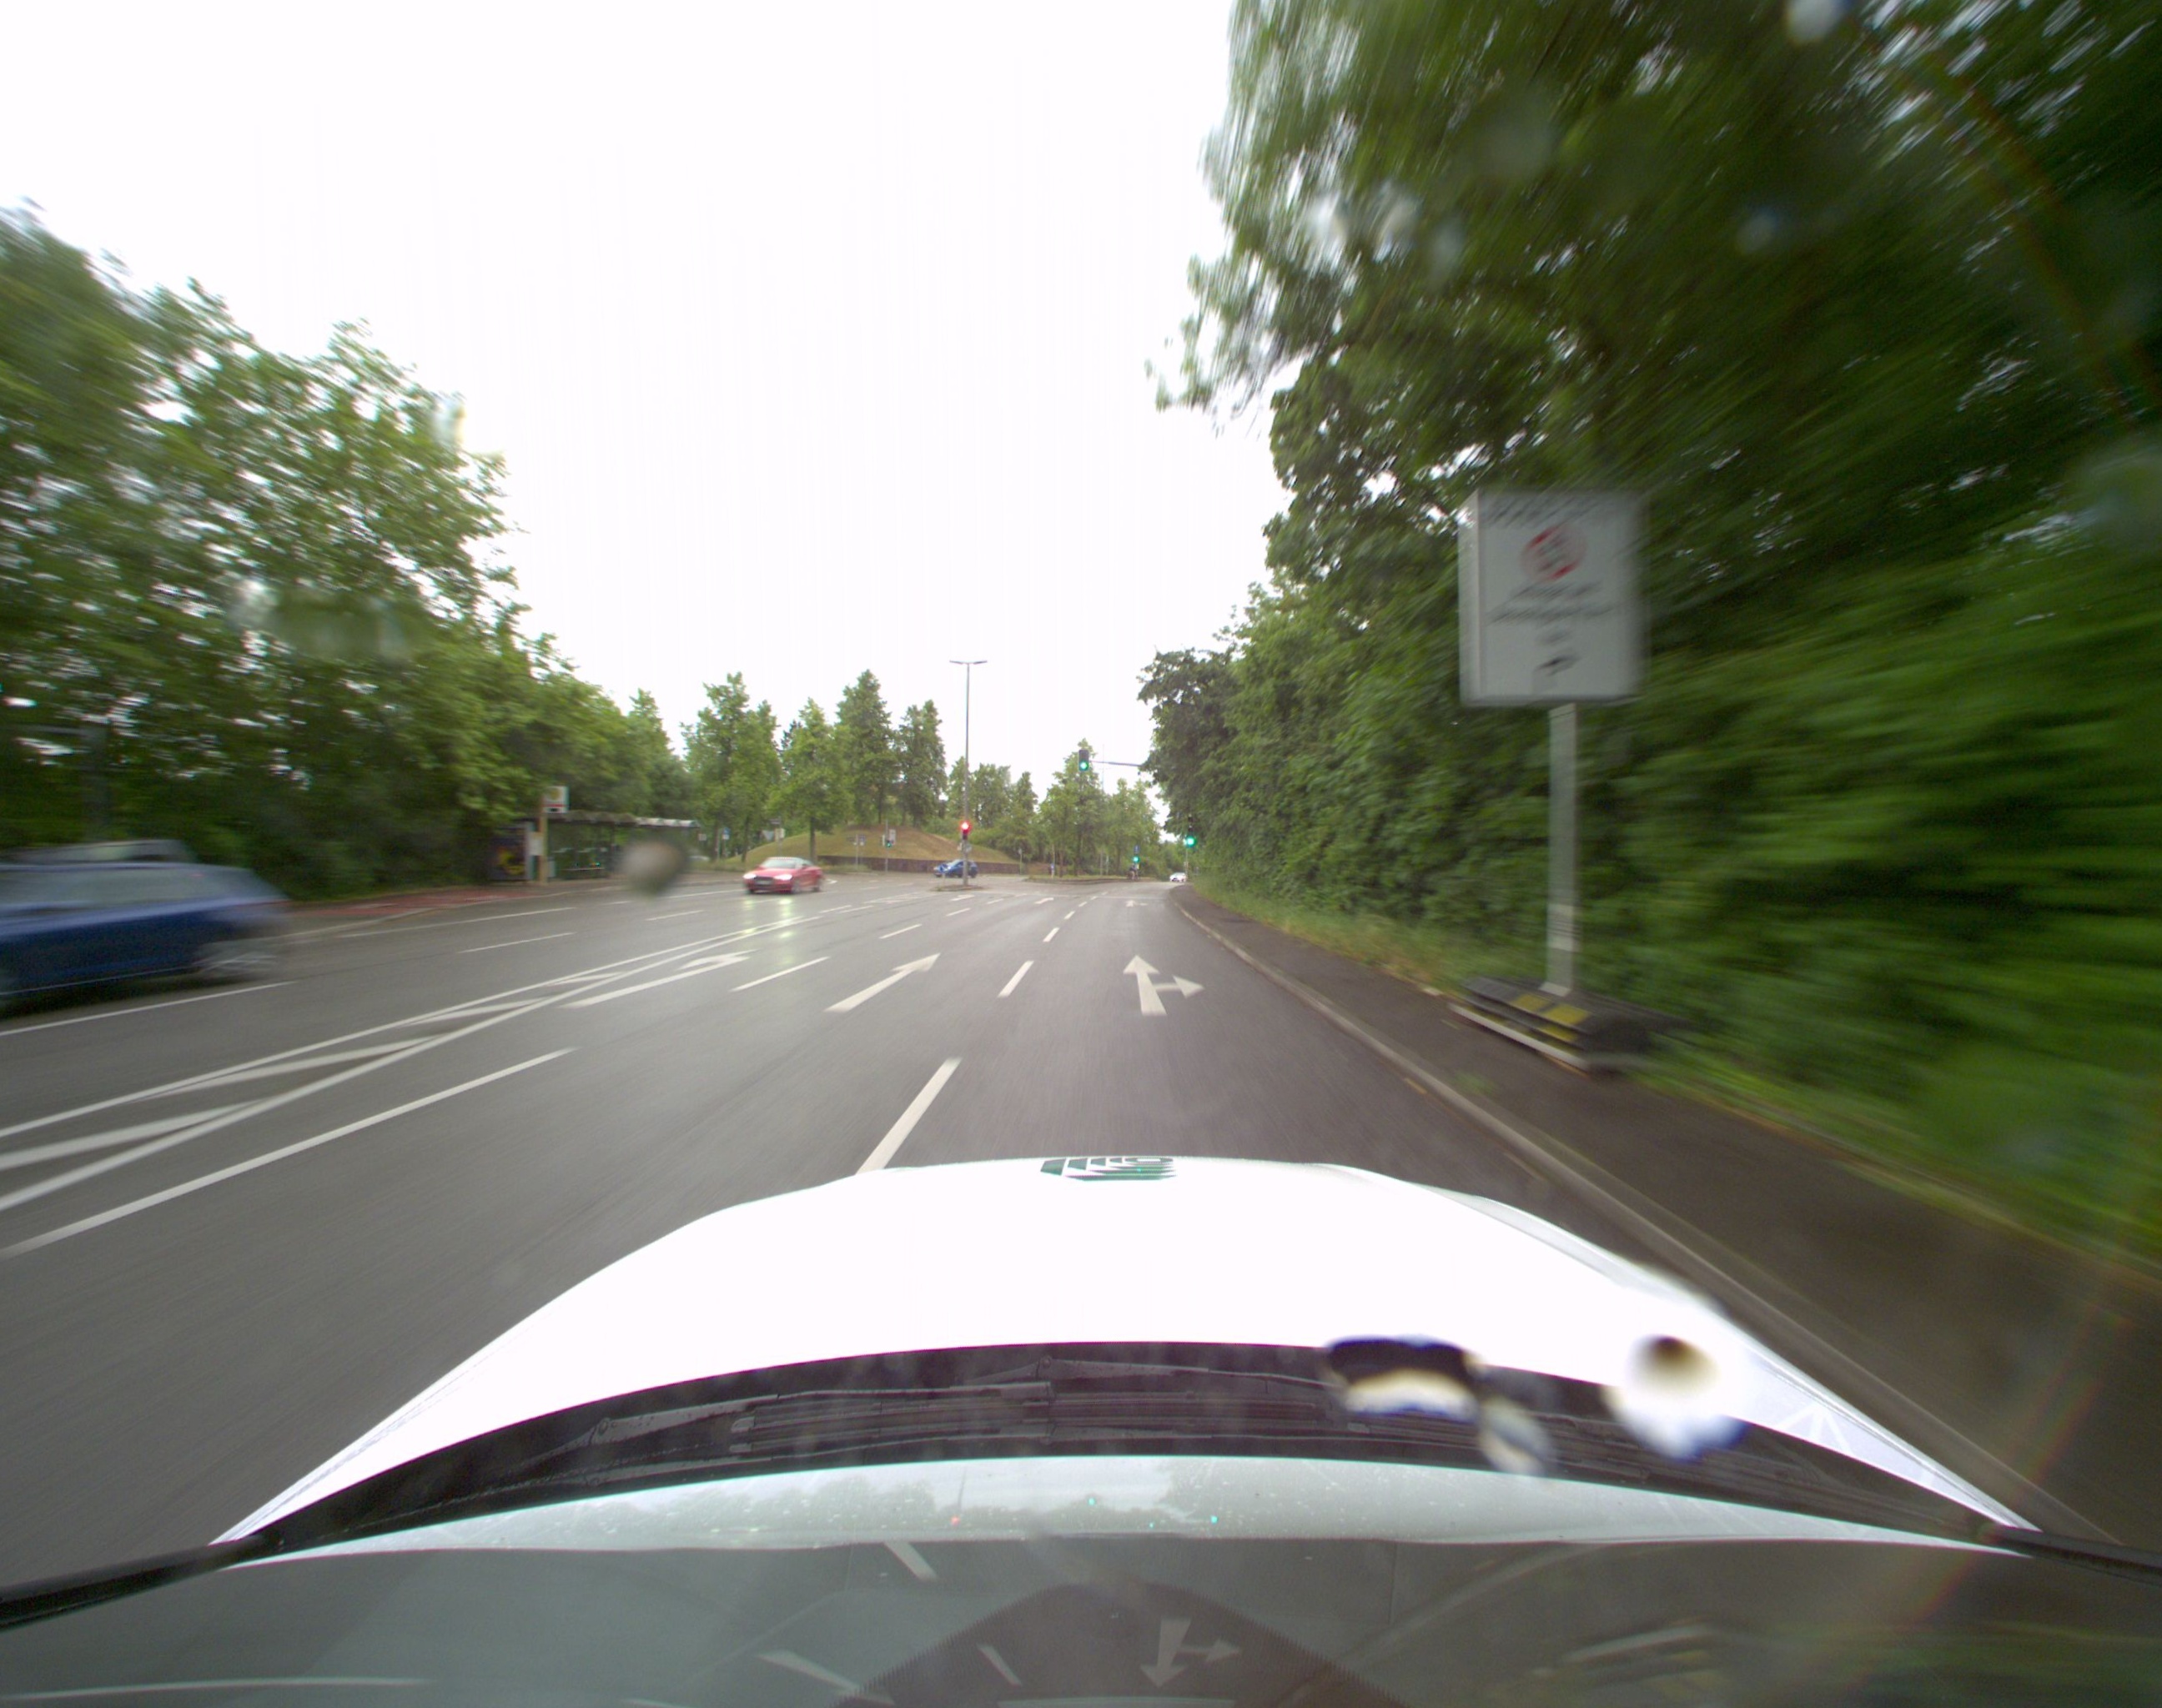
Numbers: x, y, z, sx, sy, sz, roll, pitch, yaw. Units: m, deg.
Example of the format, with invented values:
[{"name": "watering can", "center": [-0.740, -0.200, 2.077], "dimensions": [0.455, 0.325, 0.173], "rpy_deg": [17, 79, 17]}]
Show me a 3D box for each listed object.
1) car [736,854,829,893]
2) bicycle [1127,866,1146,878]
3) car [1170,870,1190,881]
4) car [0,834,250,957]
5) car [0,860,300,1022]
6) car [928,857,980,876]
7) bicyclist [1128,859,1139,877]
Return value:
[{"name": "car", "center": [-11.412, 0.698, 31.462], "dimensions": [1.868, 1.374, 4.386], "rpy_deg": [1, 0, 1]}, {"name": "bicycle", "center": [5.806, 1.898, 84.624], "dimensions": [2.151, 1.143, 0.547], "rpy_deg": [3, -2, -41]}, {"name": "car", "center": [15.769, 3.409, 129.597], "dimensions": [1.929, 1.636, 5.029], "rpy_deg": [1, -2, 21]}, {"name": "car", "center": [-19.624, 0.791, 15.214], "dimensions": [2.084, 1.945, 5.190], "rpy_deg": [-1, 4, 22]}, {"name": "car", "center": [-10.378, 0.782, 8.027], "dimensions": [1.627, 1.394, 3.996], "rpy_deg": [0, 0, -3]}, {"name": "car", "center": [-10.215, 1.020, 65.889], "dimensions": [1.974, 1.490, 3.961], "rpy_deg": [1, -1, 33]}, {"name": "bicyclist", "center": [5.458, 1.451, 84.574], "dimensions": [0.805, 1.753, 0.716], "rpy_deg": [4, -5, -40]}]
